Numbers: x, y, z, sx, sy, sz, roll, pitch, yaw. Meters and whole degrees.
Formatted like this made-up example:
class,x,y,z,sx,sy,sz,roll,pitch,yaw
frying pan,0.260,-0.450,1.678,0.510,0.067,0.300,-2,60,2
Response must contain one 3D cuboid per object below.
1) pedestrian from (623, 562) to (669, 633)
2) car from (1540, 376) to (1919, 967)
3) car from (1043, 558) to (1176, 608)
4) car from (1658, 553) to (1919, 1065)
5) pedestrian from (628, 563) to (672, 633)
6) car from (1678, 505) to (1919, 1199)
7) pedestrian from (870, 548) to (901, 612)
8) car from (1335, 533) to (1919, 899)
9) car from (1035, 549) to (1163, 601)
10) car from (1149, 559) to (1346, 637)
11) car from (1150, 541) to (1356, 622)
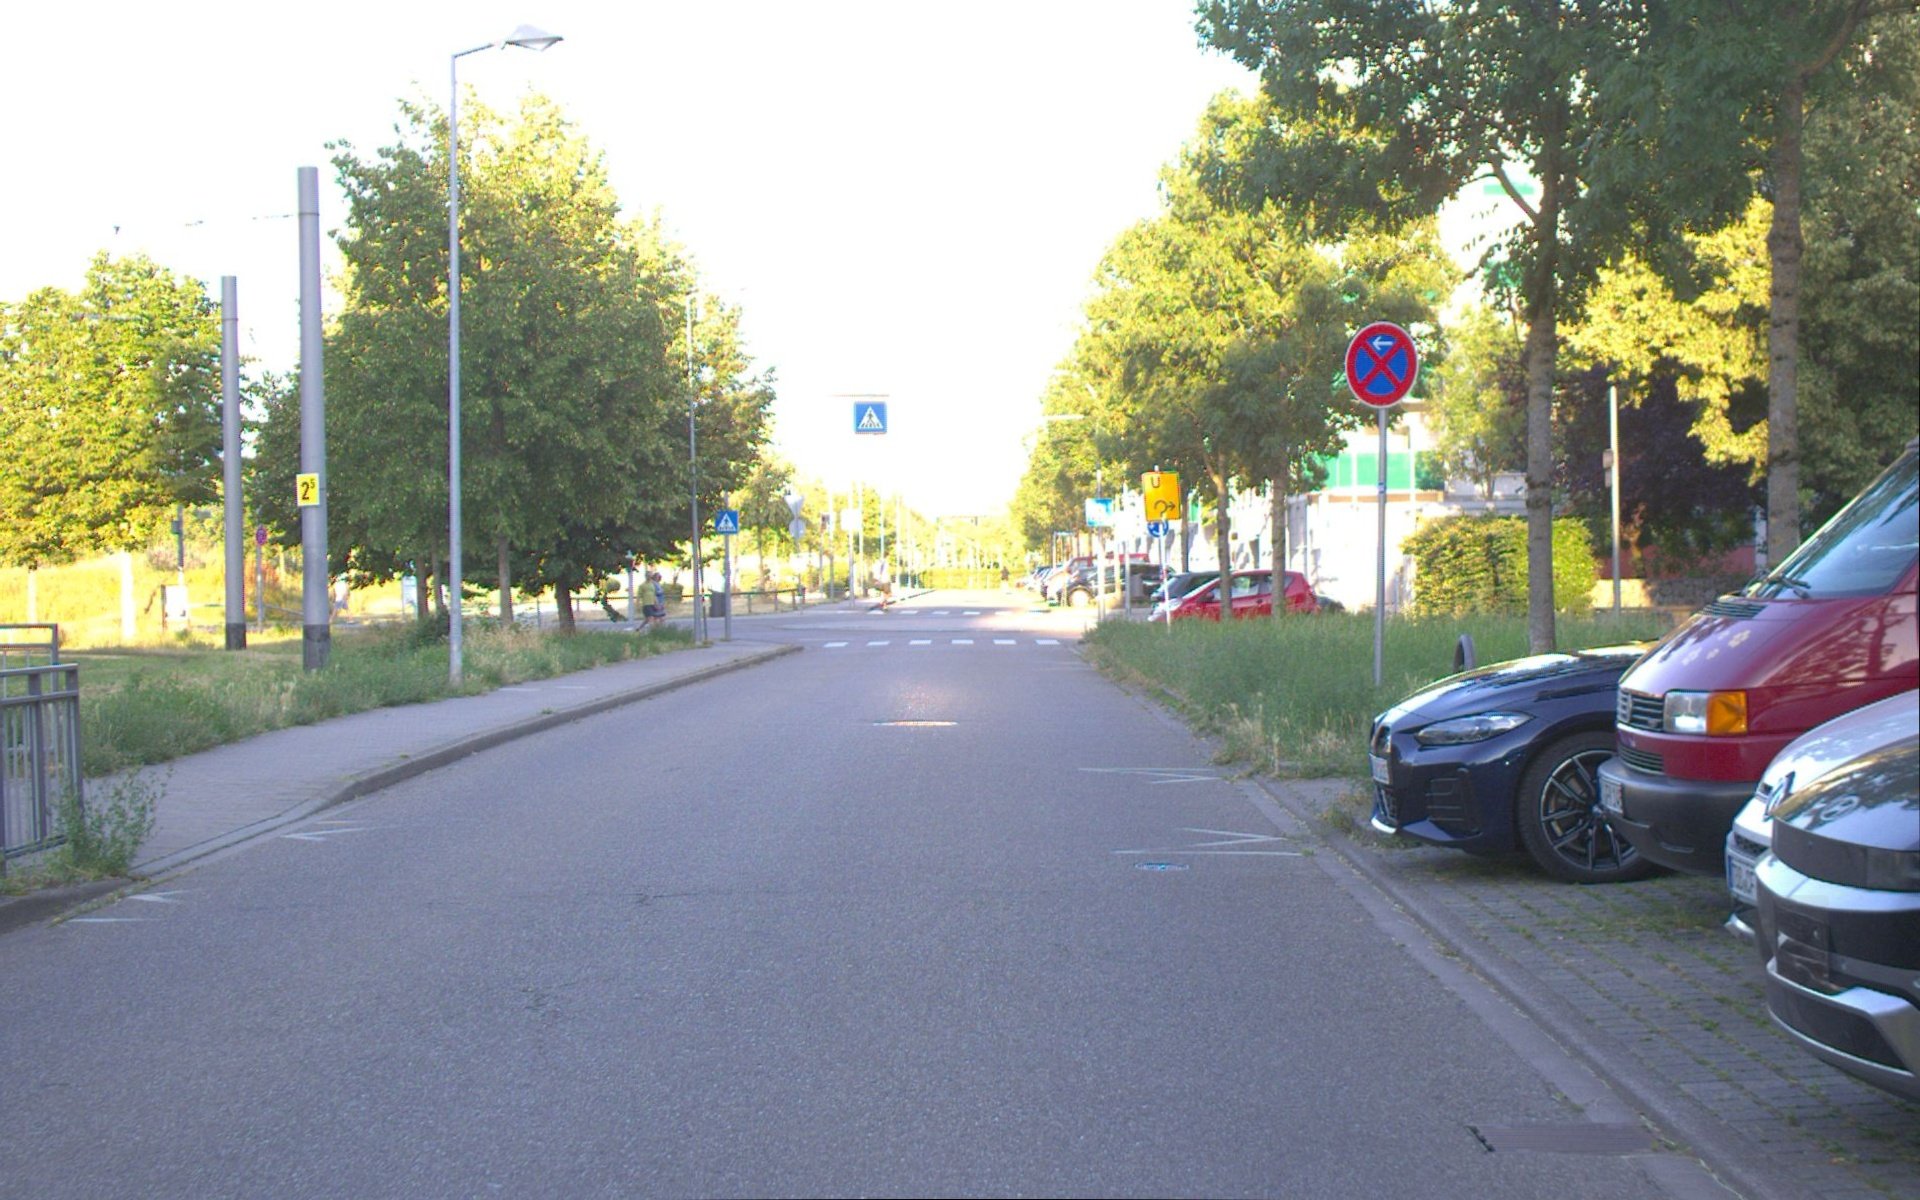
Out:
class,x,y,z,sx,sy,sz,roll,pitch,yaw
pedestrian,-7.658,-0.065,83.814,1.018,1.687,0.760,-1,0,-12
car,4.865,0.220,13.291,4.920,2.110,2.017,-1,1,2
car,5.096,-0.586,117.328,4.485,1.590,2.000,-1,0,2
car,4.145,0.538,10.800,3.525,1.460,1.615,-3,1,1
pedestrian,-7.618,-0.050,84.549,0.983,1.687,0.700,-1,0,-10
car,4.022,0.480,8.136,4.215,1.563,1.792,-3,1,1
pedestrian,-2.350,-0.626,108.774,0.846,2.007,0.943,-1,0,6
car,4.149,0.477,15.755,4.669,1.551,1.811,-1,1,1
car,5.658,-1.032,140.490,5.002,2.038,2.250,-1,0,-4
car,5.797,-0.047,69.696,3.802,1.503,1.679,-1,0,-1
car,5.675,-0.363,66.821,3.802,1.503,1.679,-1,0,-1
